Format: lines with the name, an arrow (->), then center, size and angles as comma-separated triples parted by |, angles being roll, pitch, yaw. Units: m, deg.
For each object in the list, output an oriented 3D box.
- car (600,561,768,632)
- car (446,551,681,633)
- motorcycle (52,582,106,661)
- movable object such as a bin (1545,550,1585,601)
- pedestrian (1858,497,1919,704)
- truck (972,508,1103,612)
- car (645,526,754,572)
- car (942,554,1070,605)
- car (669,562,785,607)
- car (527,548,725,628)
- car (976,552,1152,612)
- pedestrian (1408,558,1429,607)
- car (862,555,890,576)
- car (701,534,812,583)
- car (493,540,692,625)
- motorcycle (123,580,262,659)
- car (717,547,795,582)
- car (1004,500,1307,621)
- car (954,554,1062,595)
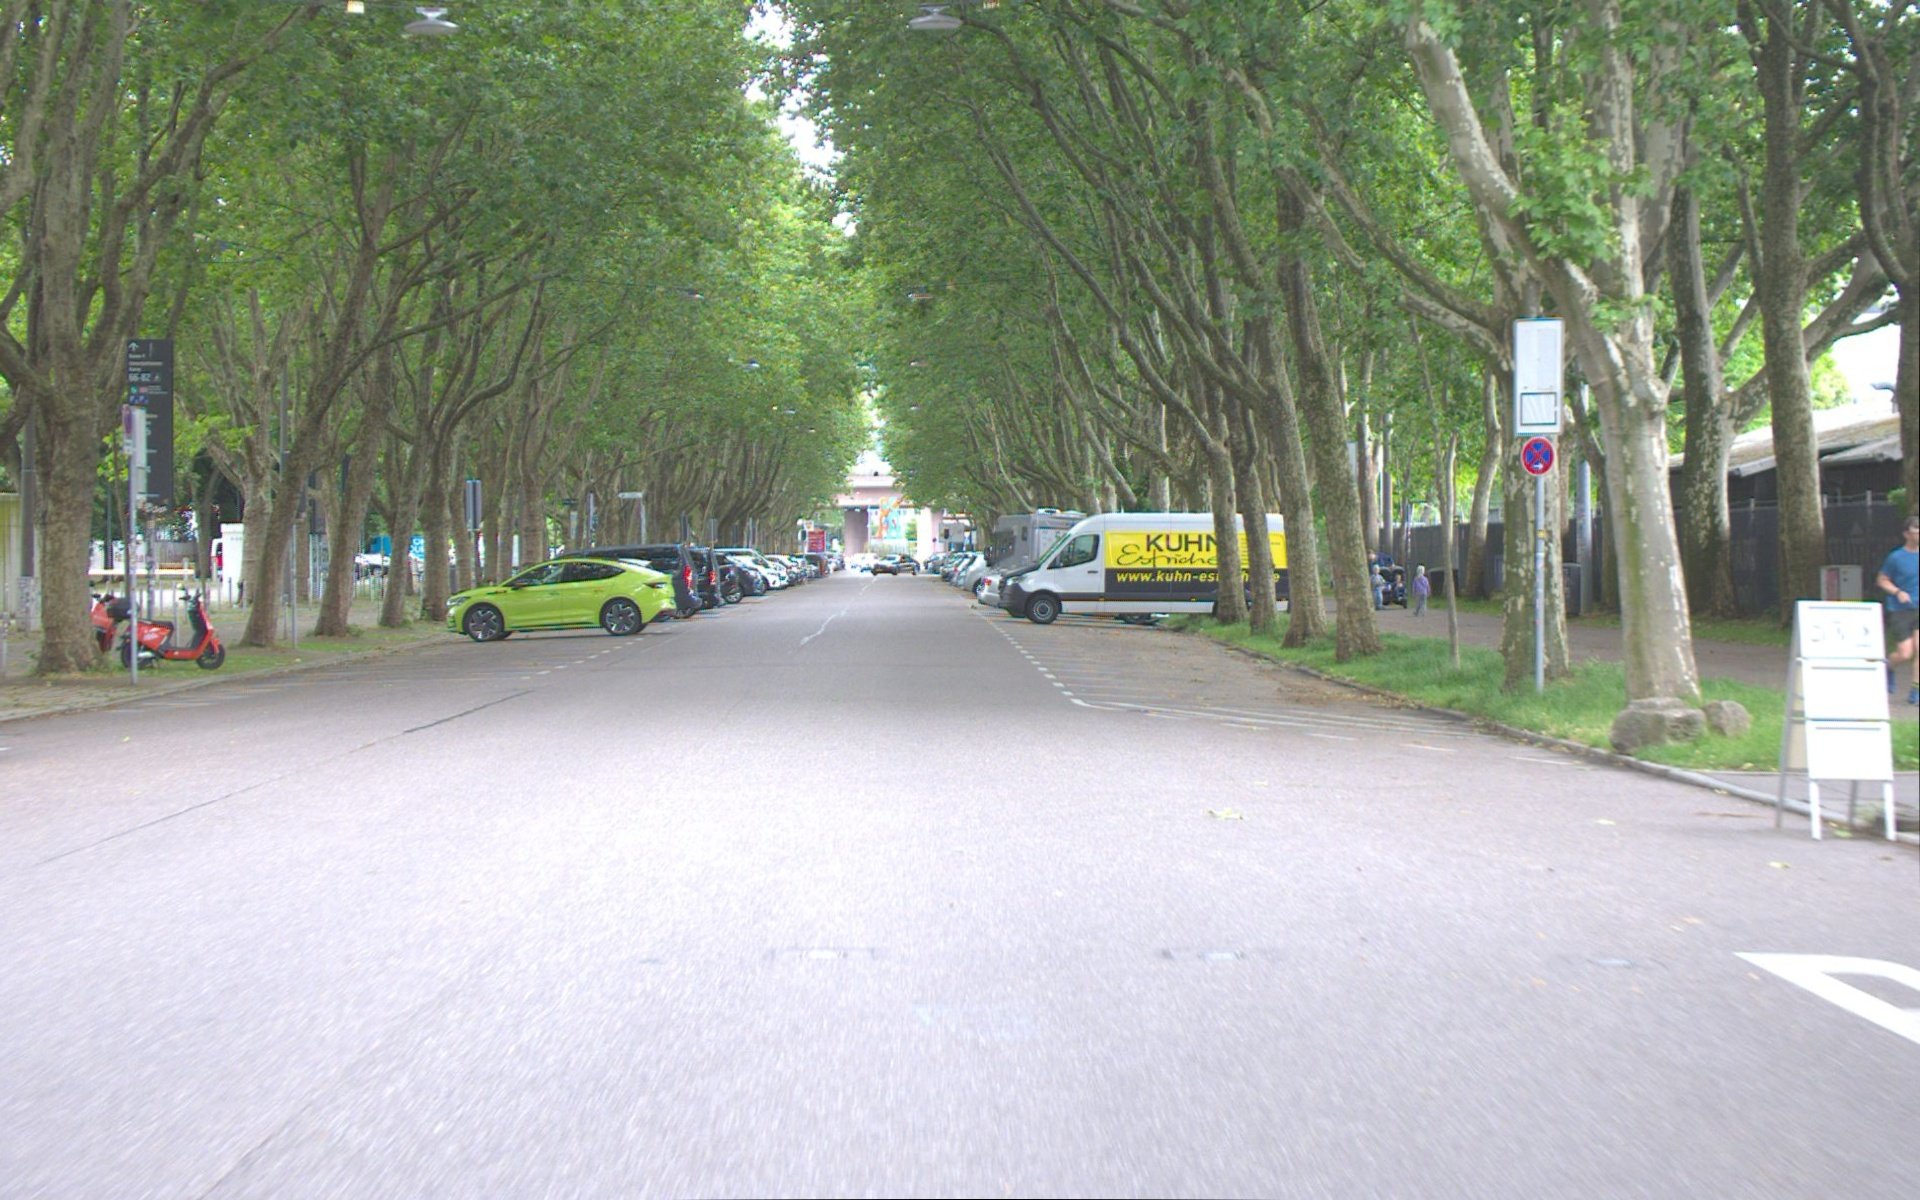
car -> -9.195, -0.130, 114.777 | 5.435, 2.120, 1.940 | -2, 1, -2
car -> -8.032, -0.173, 69.841 | 4.516, 1.612, 1.758 | -1, 1, 2
motorcycle -> -13.362, 0.322, 52.132 | 0.573, 1.154, 2.078 | 1, 1, -20
movable object such as a bin -> 11.953, -0.477, 67.904 | 0.568, 0.956, 0.675 | -5, 1, -2
pedestrian -> 9.275, -0.002, 33.869 | 0.709, 2.007, 0.881 | 1, 0, 8
truck -> 2.209, -1.177, 101.091 | 2.457, 2.928, 7.540 | 1, 1, -9
car -> -10.675, -2.076, 141.088 | 4.340, 1.662, 2.000 | -3, 1, -2
car -> 1.598, -0.707, 118.666 | 4.340, 1.612, 1.803 | 2, 1, 2
car -> -9.021, -0.603, 133.240 | 4.379, 1.591, 2.000 | -2, 1, -2
car -> -8.661, -0.321, 89.524 | 4.905, 1.917, 2.208 | -2, 1, 0
car -> 2.621, -0.465, 86.199 | 4.359, 1.440, 1.612 | 1, 0, 3
pedestrian -> 10.168, -0.388, 76.258 | 0.395, 1.080, 0.419 | -2, 0, 3
car -> -5.745, -2.328, 234.302 | 1.654, 1.359, 4.113 | -3, 1, -4
car -> -9.238, -1.881, 156.243 | 4.893, 2.012, 1.920 | -2, 0, -1
car -> -9.025, -0.433, 84.668 | 4.761, 1.917, 2.018 | -2, 1, -5
motorcycle -> -11.548, 0.289, 51.776 | 0.574, 1.154, 2.072 | 1, 1, 42
car -> -10.256, -1.807, 172.892 | 3.826, 1.622, 1.953 | -2, 1, -3
car -> 4.489, -0.909, 79.798 | 6.881, 2.686, 2.127 | 1, 0, 1
car -> 1.871, -0.988, 133.687 | 4.119, 1.424, 1.703 | 3, 0, 1
